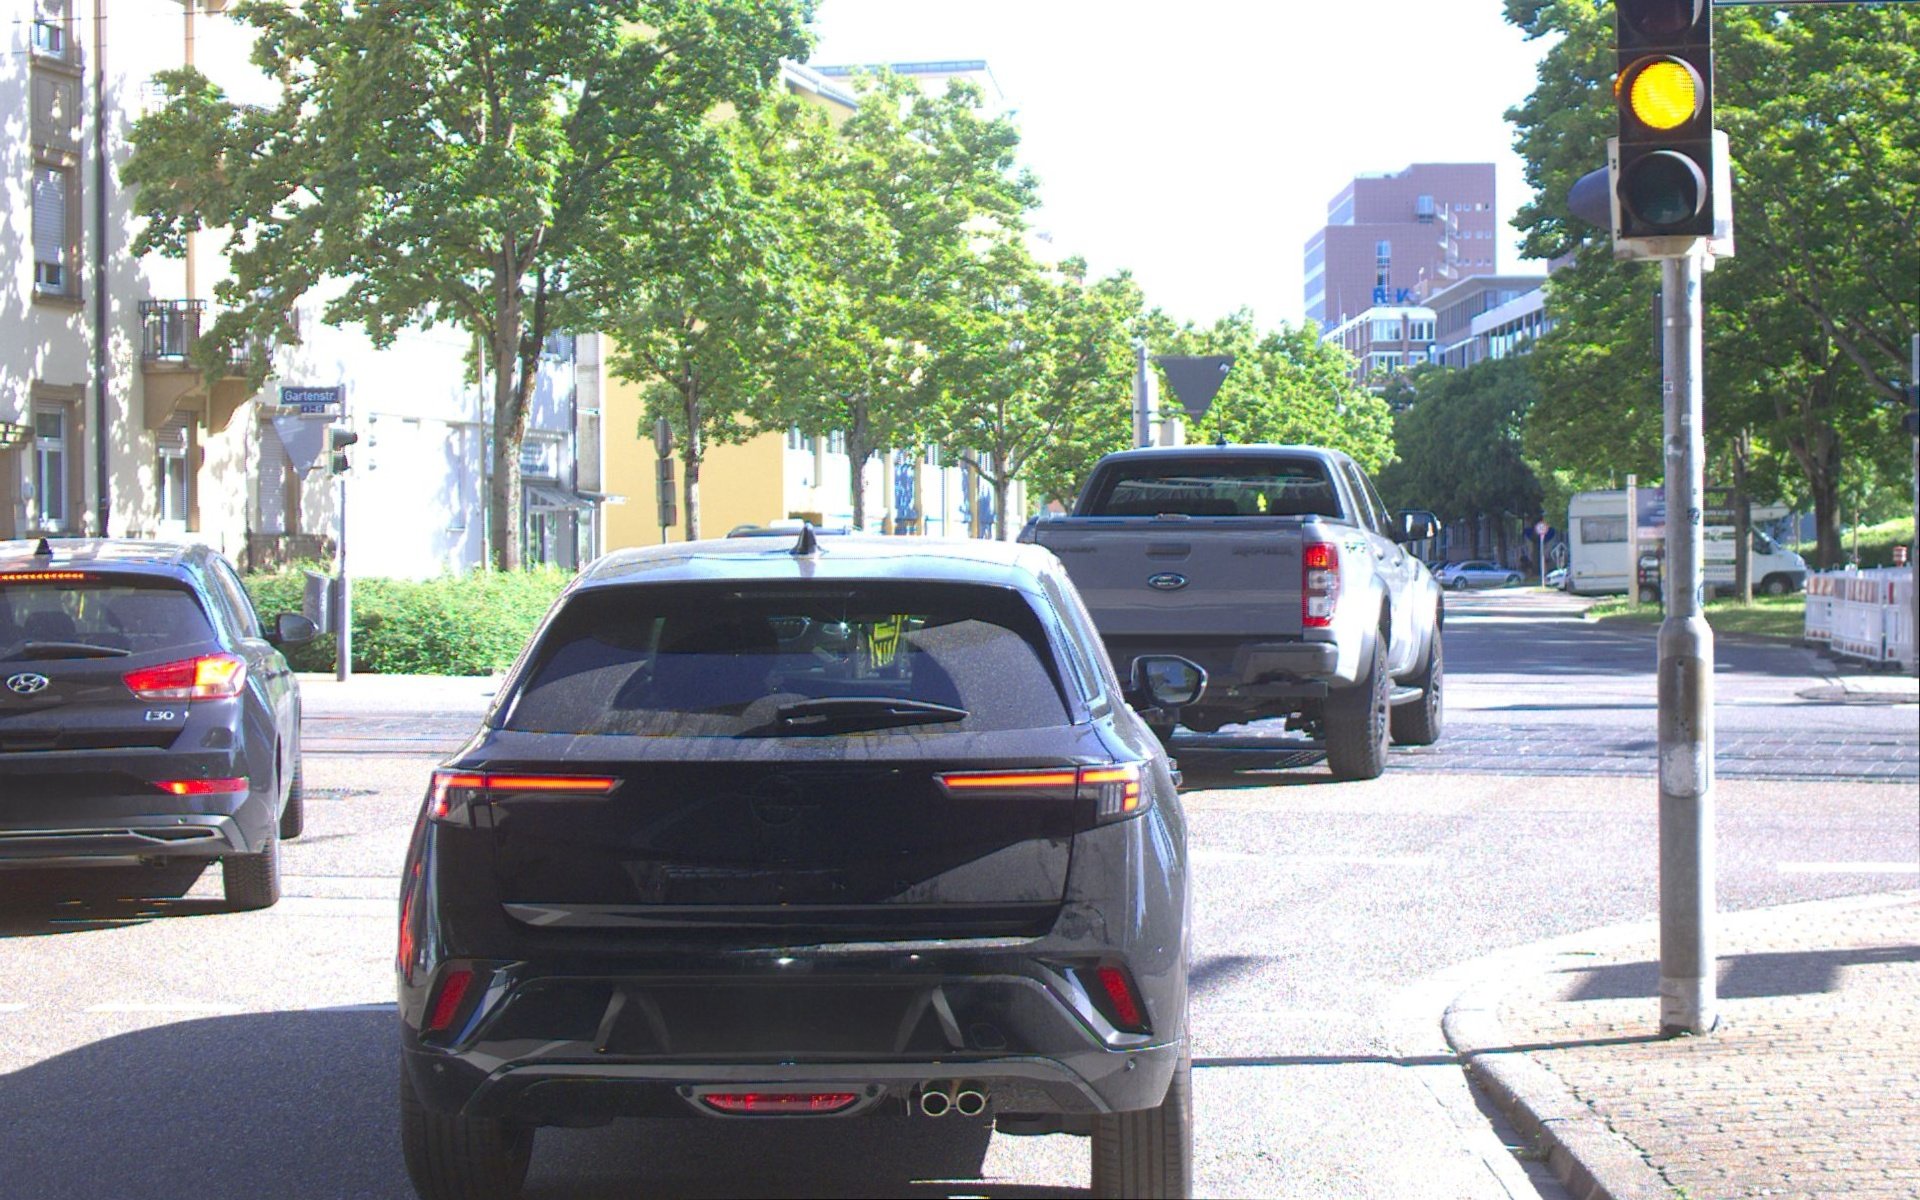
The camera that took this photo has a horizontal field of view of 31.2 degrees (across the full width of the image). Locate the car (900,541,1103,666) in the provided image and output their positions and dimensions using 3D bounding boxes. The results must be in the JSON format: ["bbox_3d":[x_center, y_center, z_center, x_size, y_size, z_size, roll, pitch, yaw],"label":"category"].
[{"bbox_3d":[0.567,0.015,42.502,1.709,1.447,3.848,0,1,13],"label":"car"}]

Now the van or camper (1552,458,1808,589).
[{"bbox_3d":[18.054,-1.904,86.451,6.081,2.919,2.574,-3,0,11],"label":"van or camper"}]

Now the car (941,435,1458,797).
[{"bbox_3d":[1.555,0.037,20.039,2.134,1.829,4.937,0,1,14],"label":"car"}]

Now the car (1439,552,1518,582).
[{"bbox_3d":[27.687,-1.749,183.590,3.947,1.392,1.516,-3,0,3],"label":"car"}]

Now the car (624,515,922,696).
[{"bbox_3d":[-1.602,0.012,30.907,1.789,1.508,4.115,0,1,10],"label":"car"}]

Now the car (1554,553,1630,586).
[{"bbox_3d":[28.113,-1.369,153.024,3.245,1.273,1.516,-3,0,10],"label":"car"}]

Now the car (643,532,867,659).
[{"bbox_3d":[-2.655,-0.092,45.566,1.885,1.604,4.146,0,1,12],"label":"car"}]

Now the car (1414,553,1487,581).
[{"bbox_3d":[28.328,-1.903,198.605,3.947,1.392,1.516,-3,0,3],"label":"car"}]

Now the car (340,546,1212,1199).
[{"bbox_3d":[-0.353,0.623,8.903,1.782,1.512,3.755,0,1,1],"label":"car"}]

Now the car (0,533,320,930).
[{"bbox_3d":[-3.757,0.456,14.854,1.800,1.446,4.327,-1,1,-9],"label":"car"}]
